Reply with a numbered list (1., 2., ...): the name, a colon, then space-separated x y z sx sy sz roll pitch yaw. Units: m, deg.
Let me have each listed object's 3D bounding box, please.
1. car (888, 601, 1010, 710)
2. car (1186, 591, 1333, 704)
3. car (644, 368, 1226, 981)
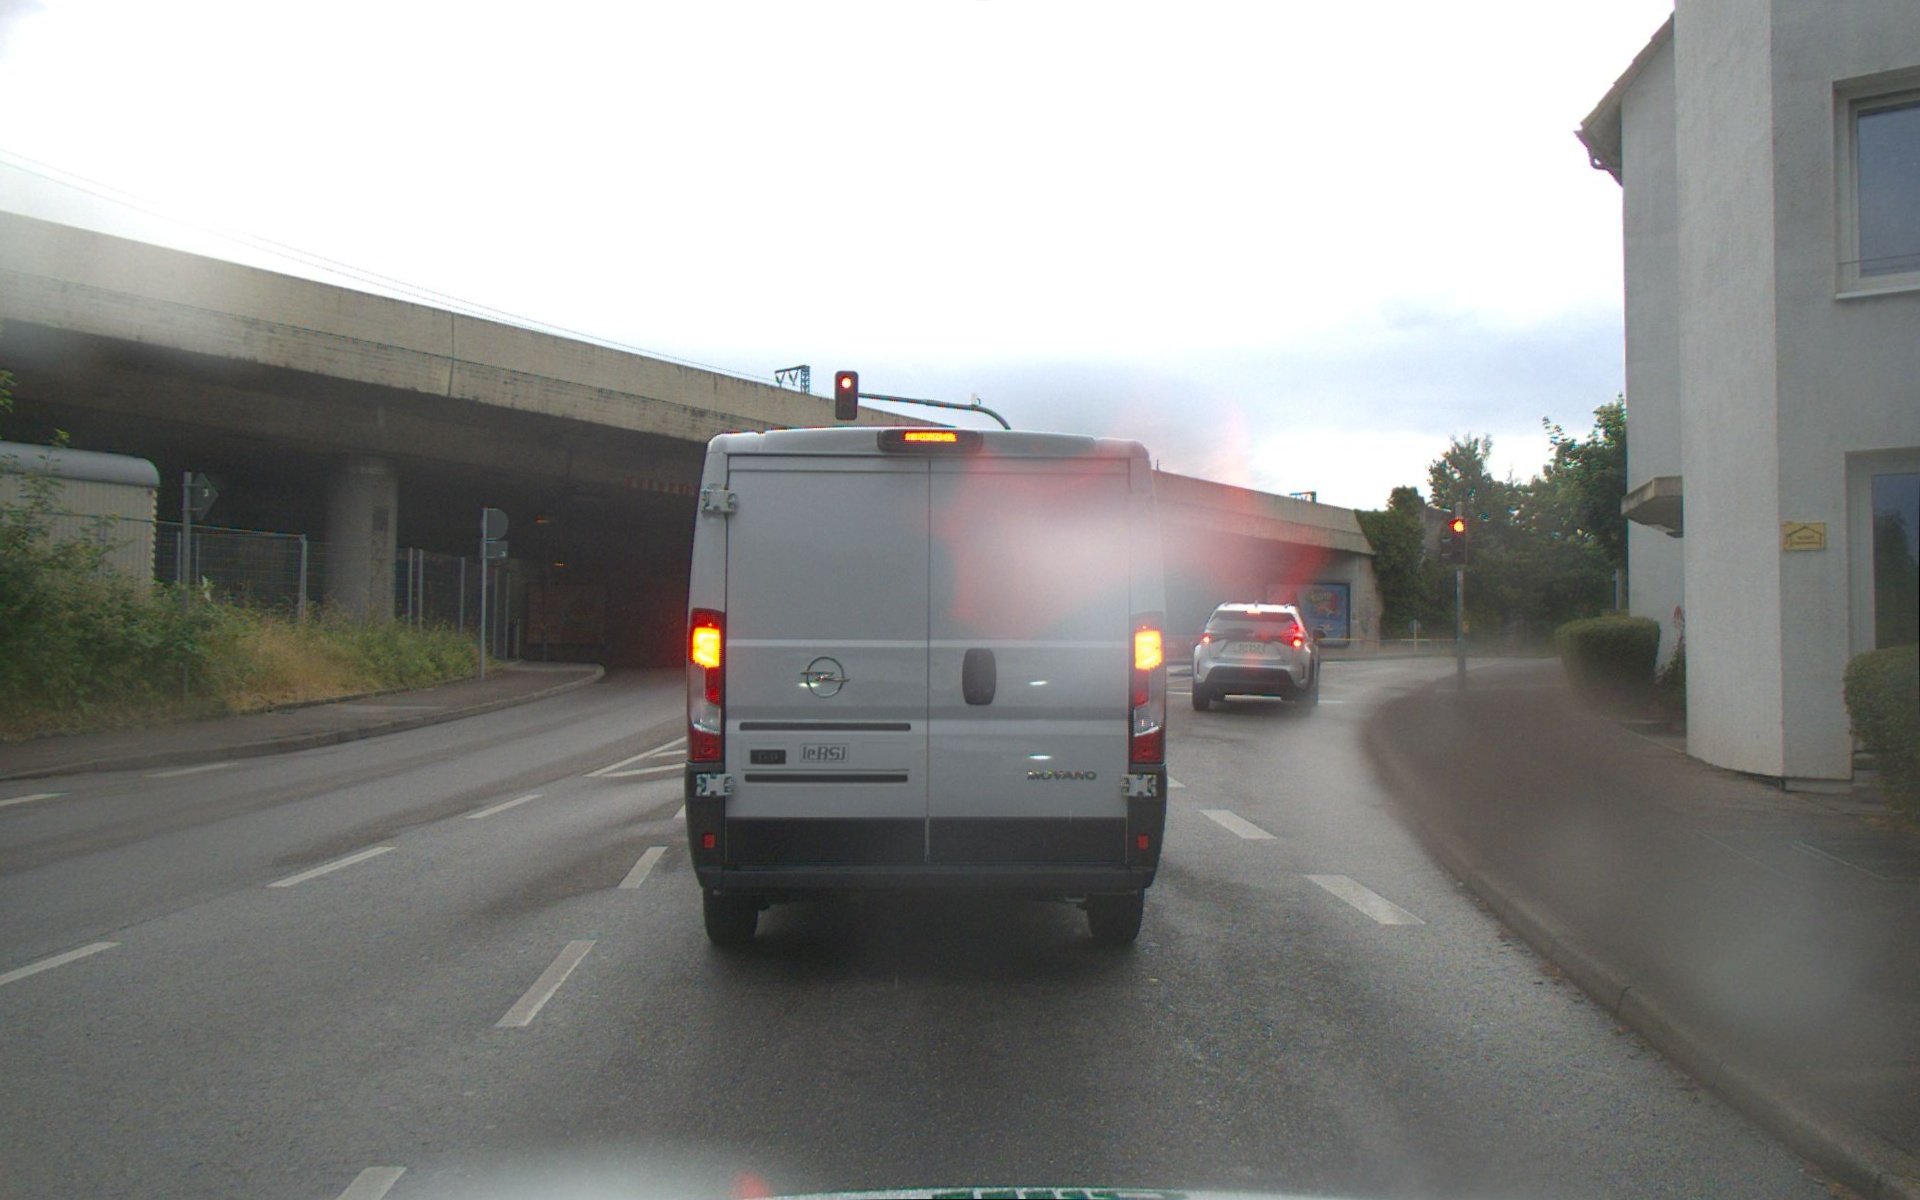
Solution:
1. car: -0.123 0.951 28.853 1.952 1.759 4.000 0 -2 2
2. car: 4.657 0.711 25.294 1.951 1.576 4.003 0 -1 14
3. car: -0.152 0.314 9.120 2.258 2.384 5.280 1 0 -2
